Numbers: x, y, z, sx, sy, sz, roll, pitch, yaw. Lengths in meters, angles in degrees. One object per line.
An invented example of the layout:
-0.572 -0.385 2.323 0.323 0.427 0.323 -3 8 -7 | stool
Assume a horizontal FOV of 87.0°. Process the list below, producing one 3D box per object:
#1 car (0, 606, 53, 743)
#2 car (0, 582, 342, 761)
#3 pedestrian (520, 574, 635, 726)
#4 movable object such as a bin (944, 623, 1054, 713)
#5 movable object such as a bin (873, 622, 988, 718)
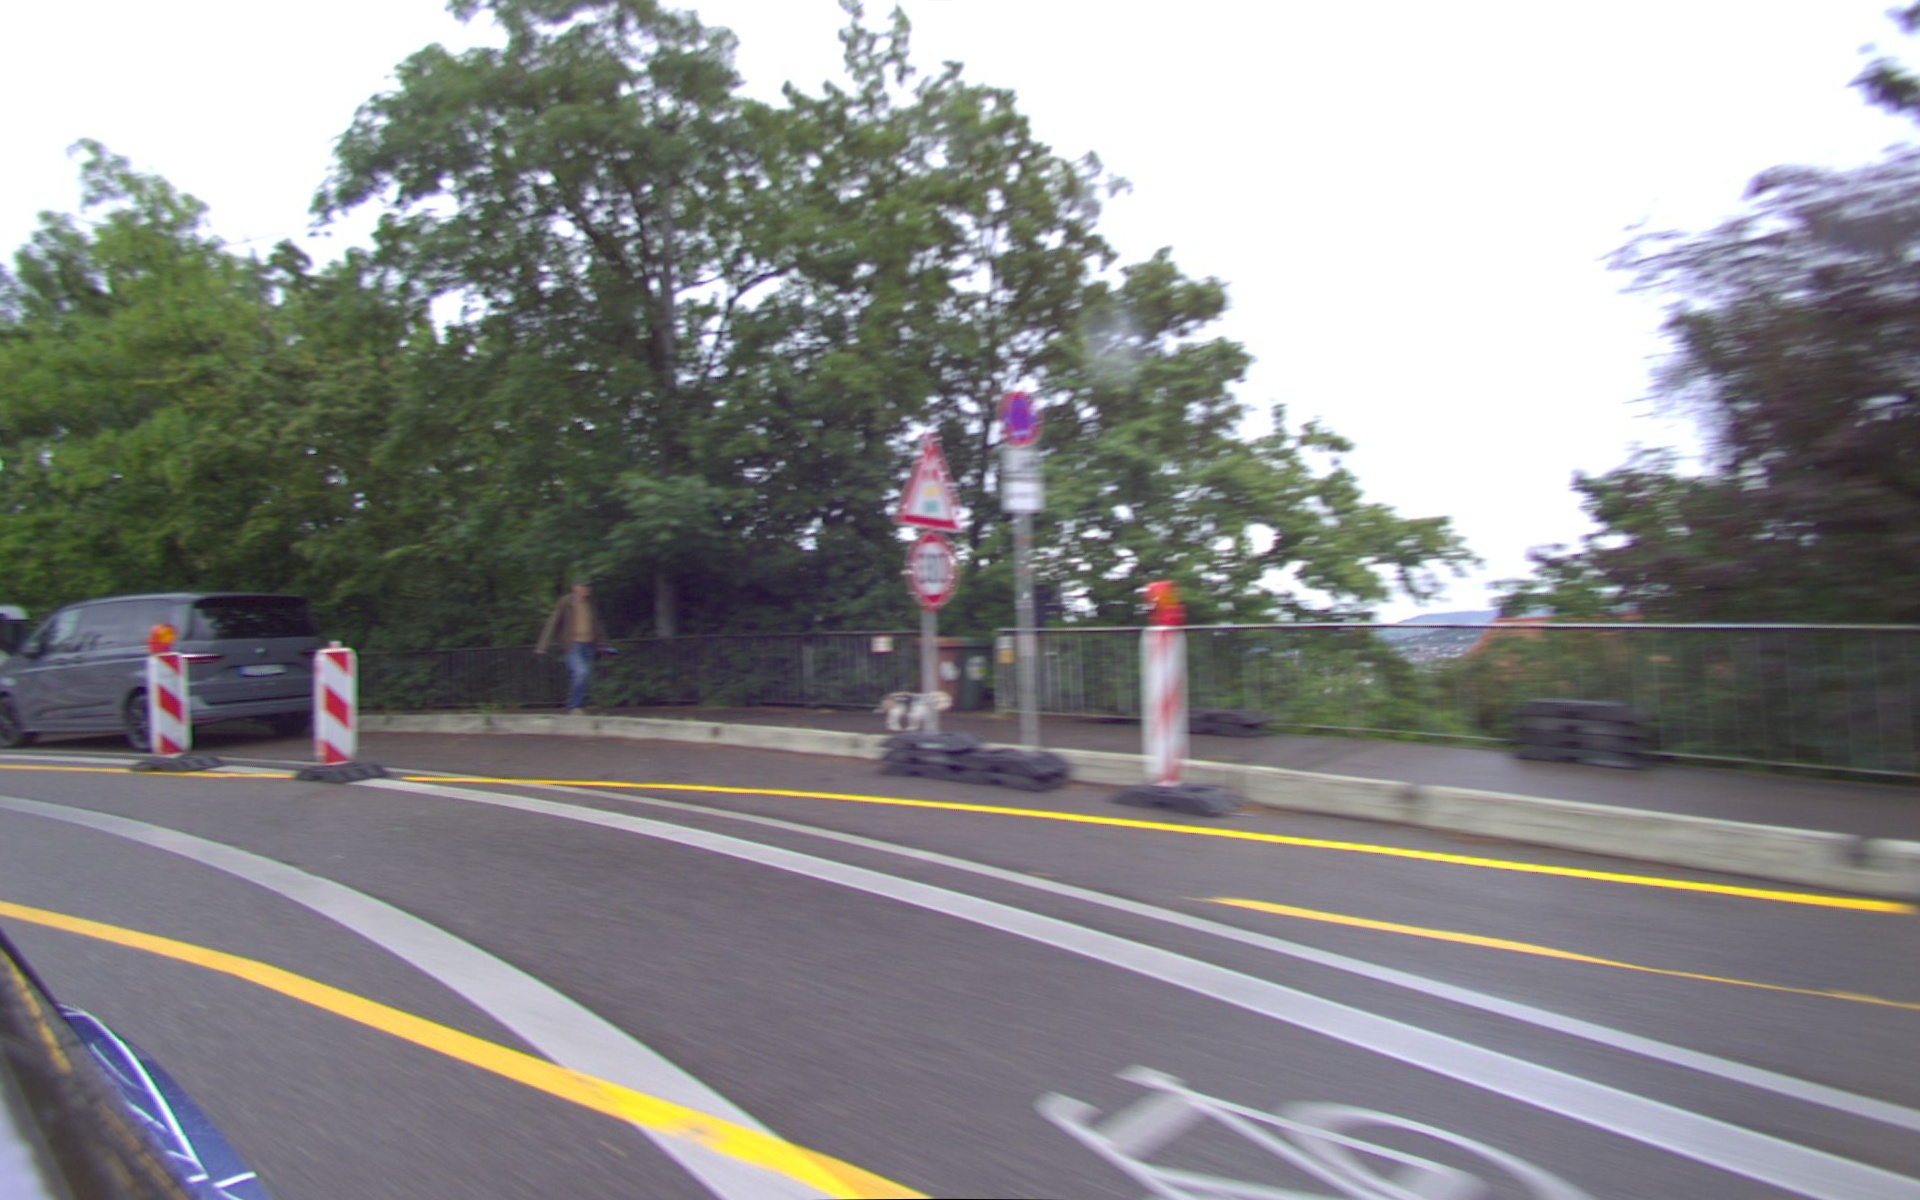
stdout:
-16.595 1.200 15.140 4.756 2.029 1.867 -3 -2 7 | car
-10.786 0.898 13.417 4.918 2.029 1.984 -2 -1 24 | car
-4.729 0.606 12.532 0.977 1.781 0.916 -2 -1 31 | pedestrian
0.506 0.880 13.220 1.027 1.115 0.976 -5 -4 41 | movable object such as a bin
-0.364 0.842 12.455 1.027 1.115 0.976 -3 -3 41 | movable object such as a bin
